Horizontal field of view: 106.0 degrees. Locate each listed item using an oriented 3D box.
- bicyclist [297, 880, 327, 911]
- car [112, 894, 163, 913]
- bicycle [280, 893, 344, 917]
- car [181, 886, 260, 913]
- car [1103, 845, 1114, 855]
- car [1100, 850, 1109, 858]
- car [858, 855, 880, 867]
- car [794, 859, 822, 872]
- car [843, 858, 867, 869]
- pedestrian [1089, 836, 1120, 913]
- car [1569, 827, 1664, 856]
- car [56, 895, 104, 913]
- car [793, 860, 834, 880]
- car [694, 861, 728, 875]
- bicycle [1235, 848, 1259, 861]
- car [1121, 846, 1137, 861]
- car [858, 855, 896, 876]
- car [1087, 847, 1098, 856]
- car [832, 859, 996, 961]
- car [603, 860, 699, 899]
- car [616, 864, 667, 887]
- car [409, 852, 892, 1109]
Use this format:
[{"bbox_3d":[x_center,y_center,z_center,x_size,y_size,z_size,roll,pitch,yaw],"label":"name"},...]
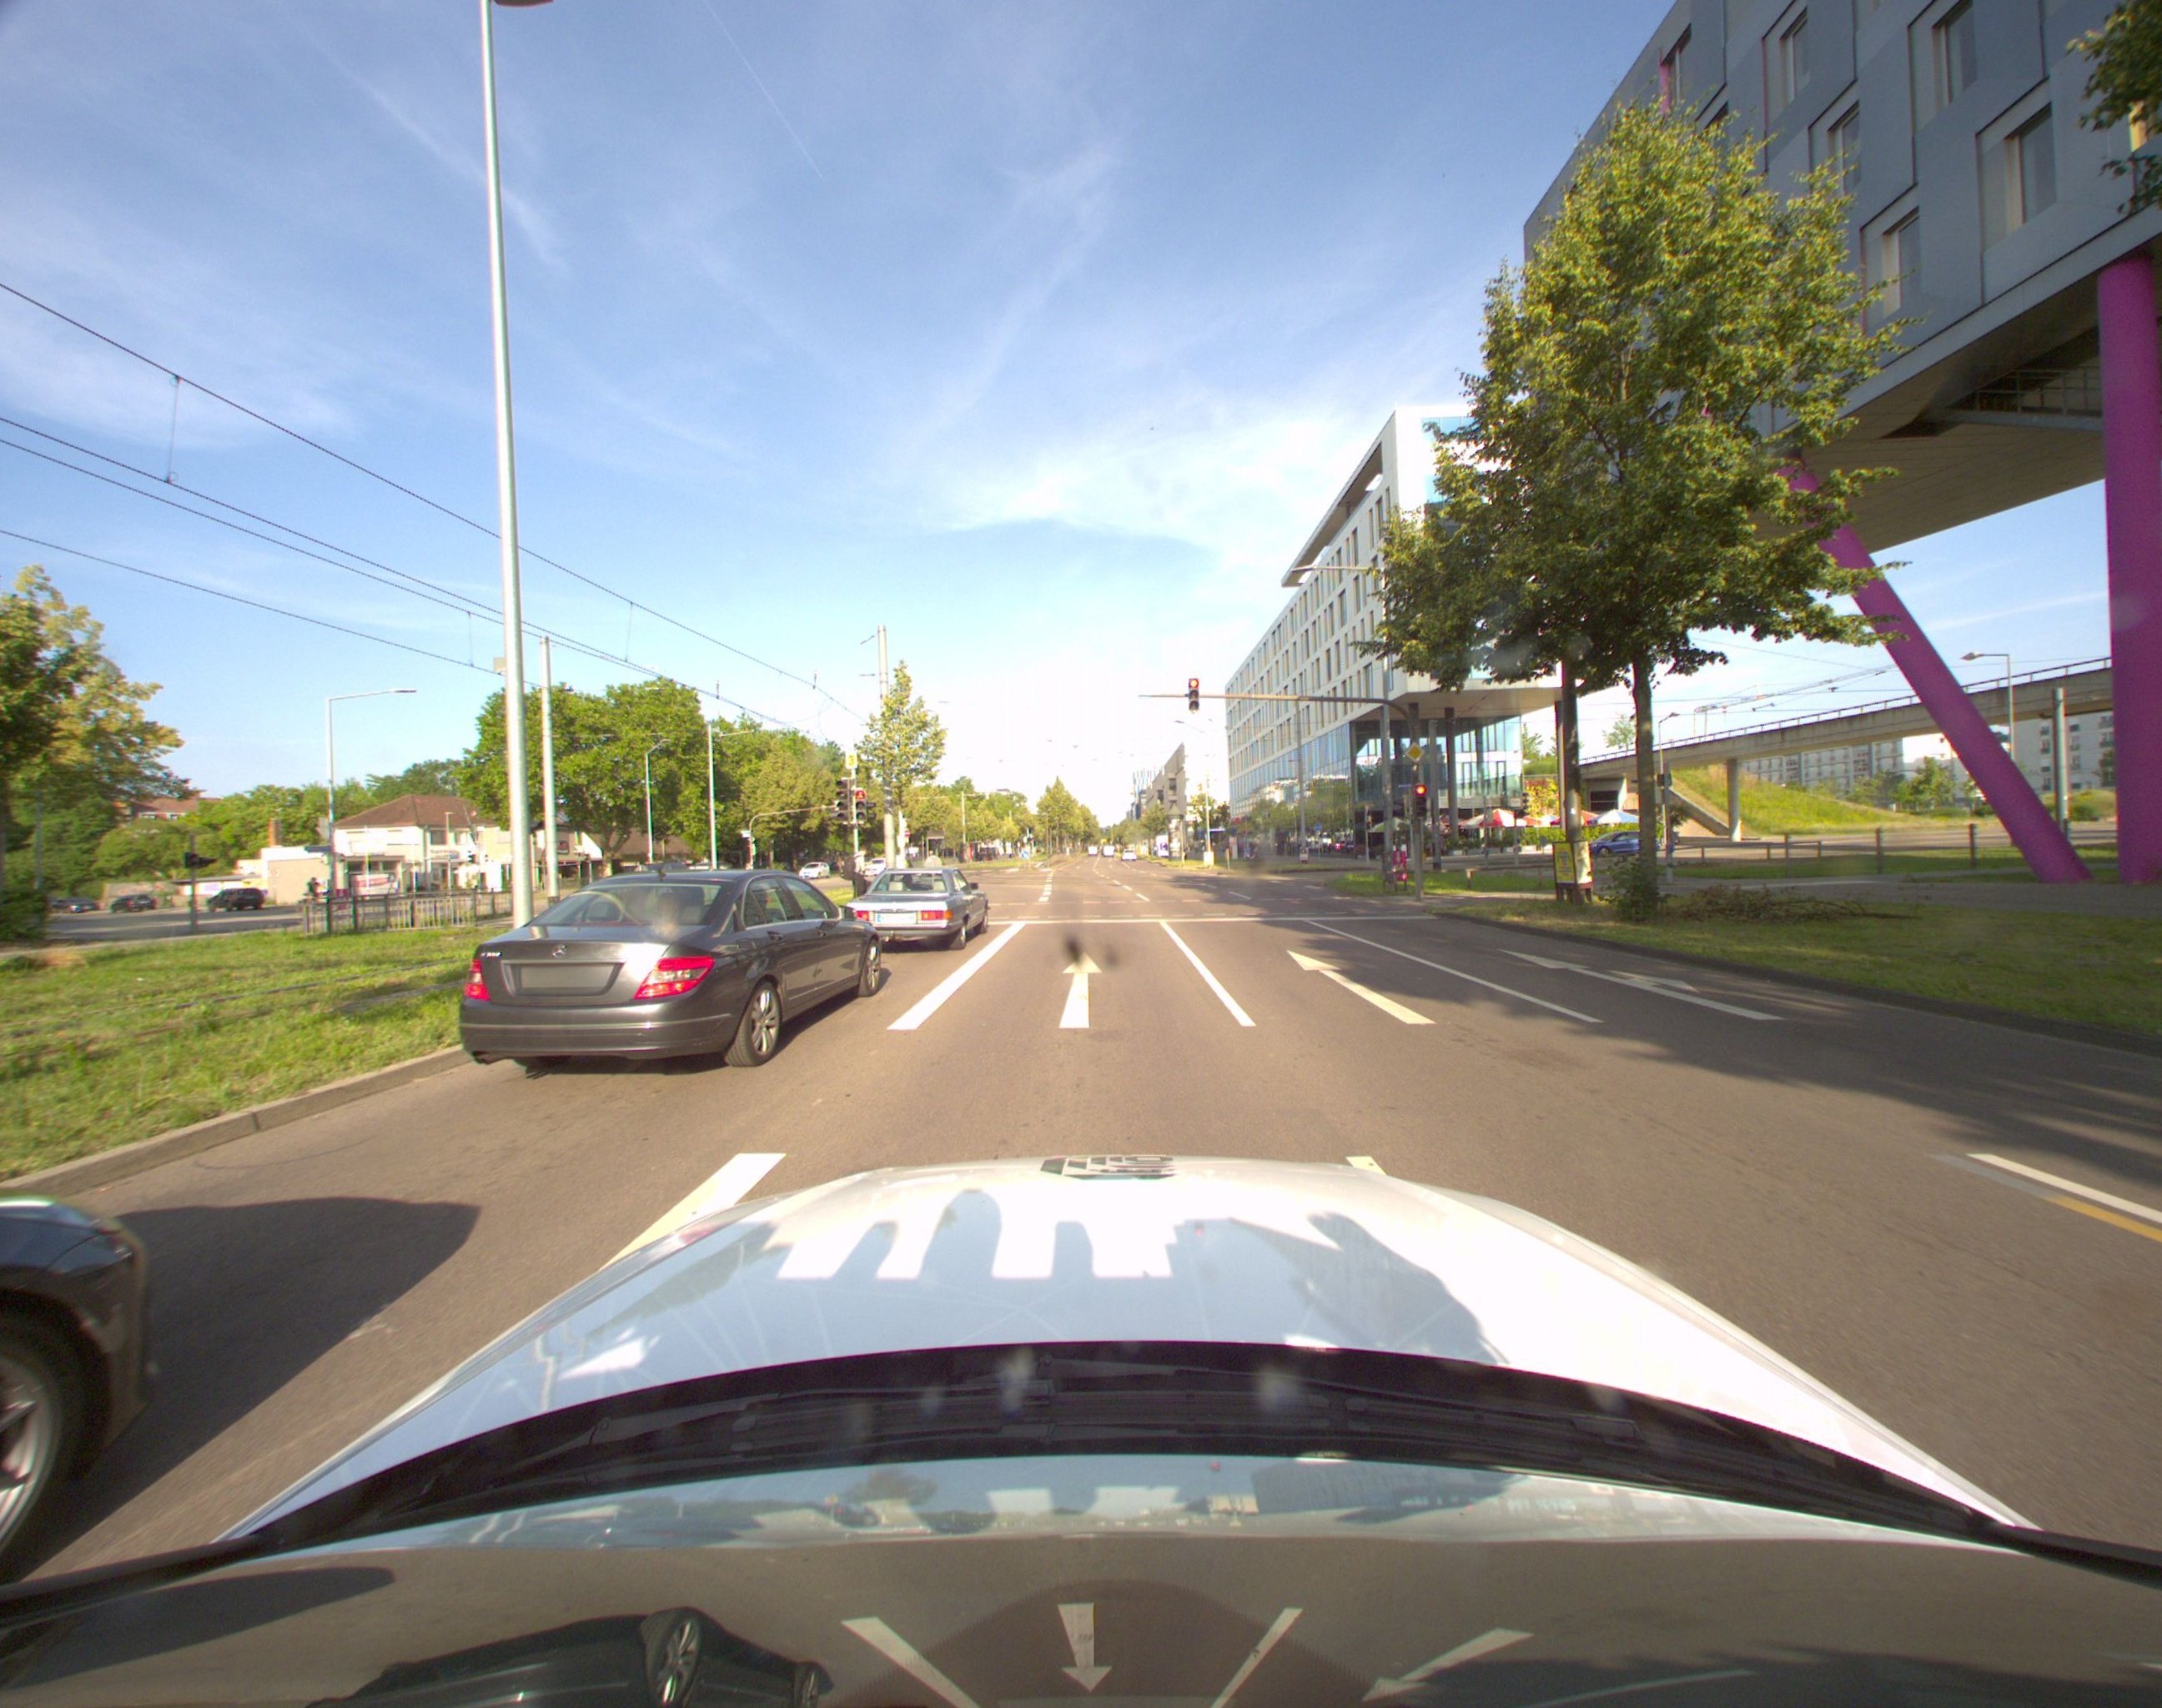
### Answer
[{"bbox_3d":[-38.689,2.090,40.993,0.850,1.493,0.695,-2,0,-21],"label":"bicyclist"},{"bbox_3d":[-81.541,4.305,70.377,3.897,1.471,1.708,-2,0,23],"label":"car"},{"bbox_3d":[-38.684,2.547,40.986,2.203,1.041,0.695,-2,0,-21],"label":"bicycle"},{"bbox_3d":[-63.472,3.373,60.073,3.964,1.728,2.005,-2,0,8],"label":"car"},{"bbox_3d":[4.799,-0.709,140.983,1.857,1.684,4.002,0,1,2],"label":"car"},{"bbox_3d":[4.912,-0.038,169.712,1.916,1.684,4.002,0,1,2],"label":"car"},{"bbox_3d":[-32.352,1.057,124.231,1.871,1.559,4.008,-2,0,7],"label":"car"},{"bbox_3d":[-34.901,1.420,104.163,1.871,1.559,4.008,-2,0,7],"label":"car"},{"bbox_3d":[-32.998,1.393,119.161,1.871,1.559,4.008,-2,0,7],"label":"car"},{"bbox_3d":[0.564,0.479,19.512,0.697,1.792,0.635,-1,0,2],"label":"pedestrian"},{"bbox_3d":[30.373,-0.698,46.259,4.170,1.424,1.859,-3,1,0],"label":"car"},{"bbox_3d":[-92.087,4.615,74.903,3.897,1.471,1.708,-2,0,23],"label":"car"},{"bbox_3d":[-23.211,1.380,70.830,1.869,1.527,4.227,-2,1,3],"label":"car"},{"bbox_3d":[-43.900,1.629,96.681,1.871,1.559,4.008,-2,0,7],"label":"car"},{"bbox_3d":[13.795,0.034,67.651,0.778,1.032,1.856,-2,3,-42],"label":"bicycle"},{"bbox_3d":[5.853,-0.086,99.451,1.857,1.684,4.002,0,1,2],"label":"car"},{"bbox_3d":[-17.242,0.945,69.000,1.986,1.504,4.095,-3,1,2],"label":"car"},{"bbox_3d":[2.363,-0.553,162.014,2.007,1.684,4.002,0,1,2],"label":"car"},{"bbox_3d":[-2.572,0.793,13.604,1.757,1.330,4.400,0,1,1],"label":"car"},{"bbox_3d":[-21.717,1.250,41.409,1.986,1.684,4.998,-2,1,2],"label":"car"},{"bbox_3d":[-38.220,1.846,71.001,1.871,1.750,4.008,-2,0,7],"label":"car"},{"bbox_3d":[-3.083,0.754,7.058,1.780,1.478,4.355,0,1,1],"label":"car"}]
